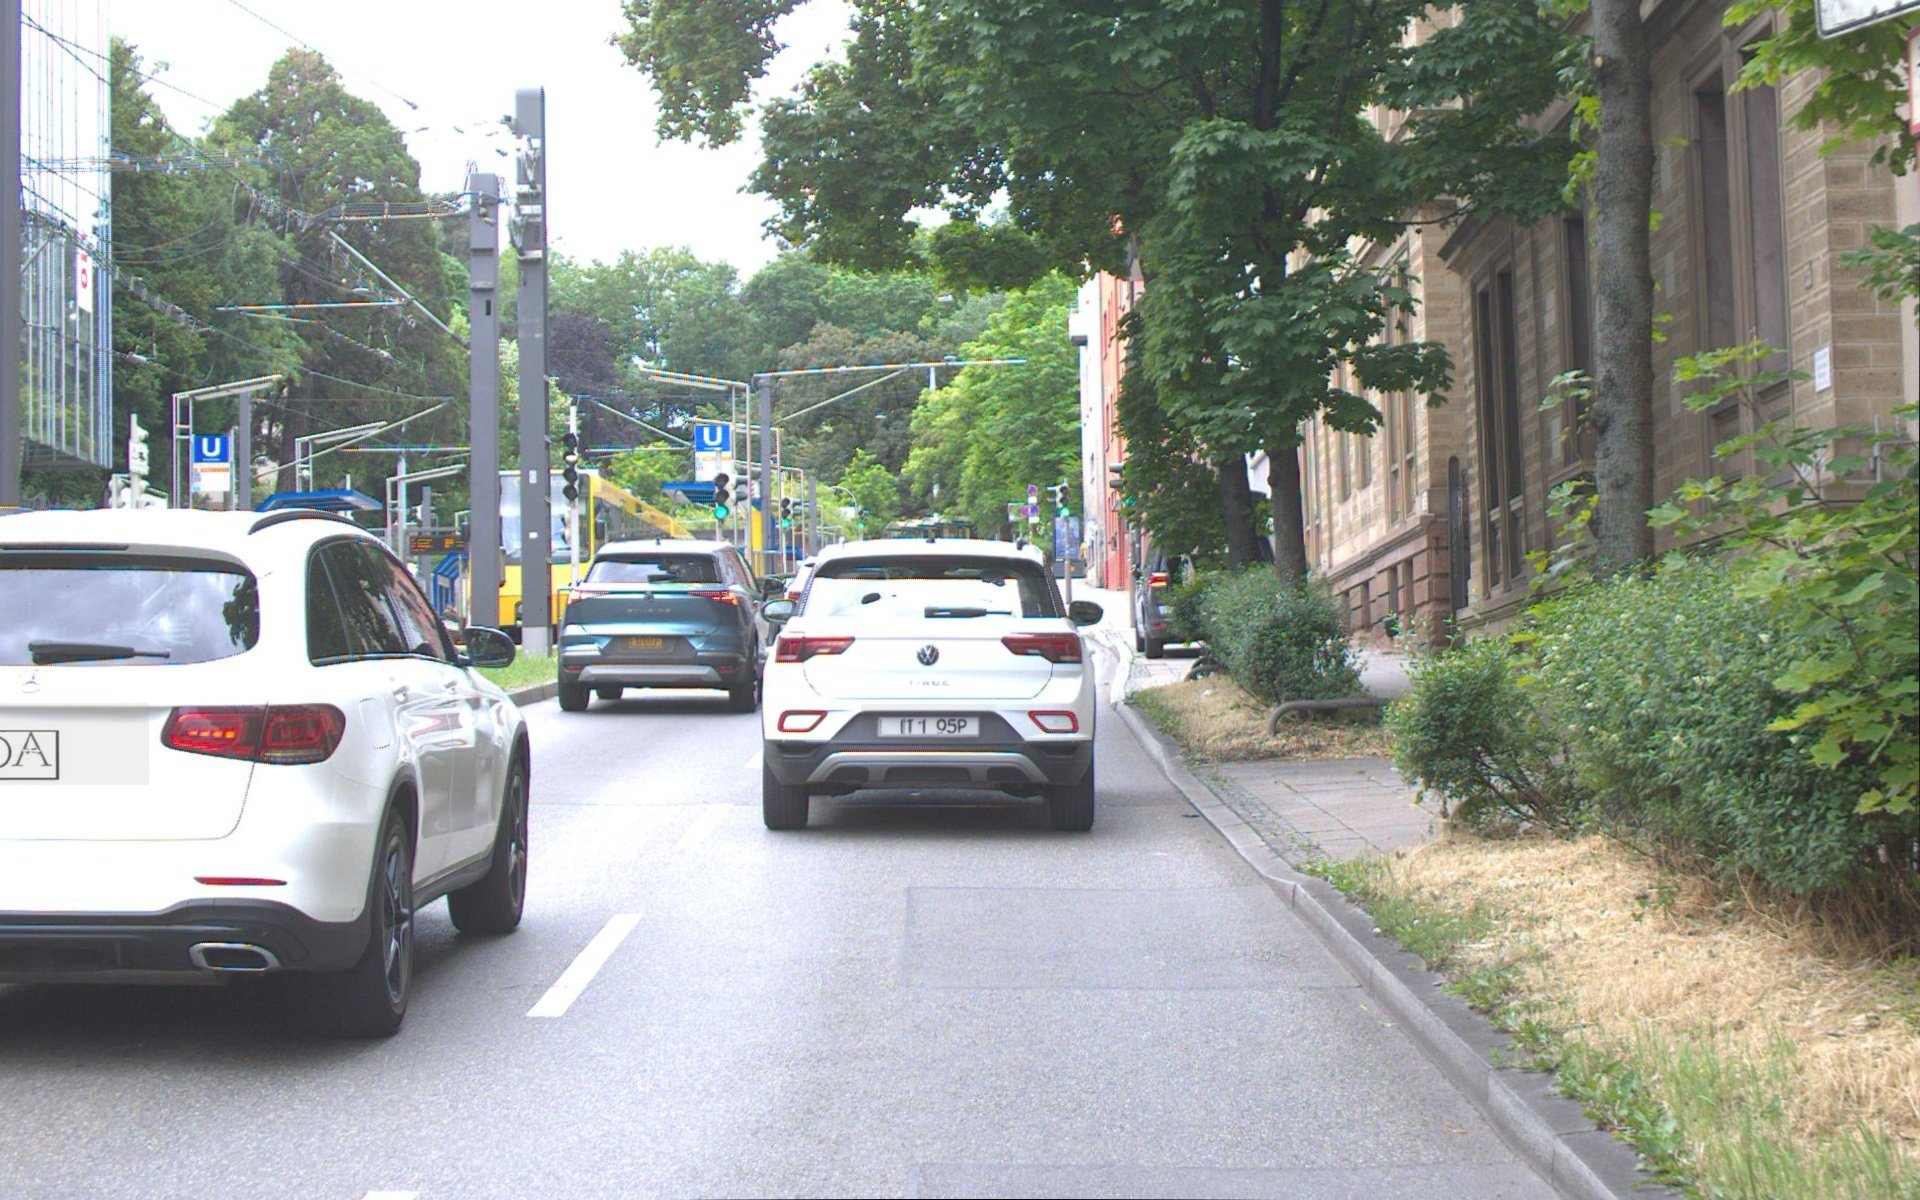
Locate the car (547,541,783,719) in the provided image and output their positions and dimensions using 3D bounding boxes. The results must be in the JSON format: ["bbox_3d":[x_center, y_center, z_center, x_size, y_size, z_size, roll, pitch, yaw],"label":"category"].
[{"bbox_3d":[-2.702,0.235,32.341,1.835,1.541,4.193,1,1,0],"label":"car"}]

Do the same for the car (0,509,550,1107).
[{"bbox_3d":[-2.640,0.545,11.939,1.835,1.661,4.671,1,1,0],"label":"car"}]

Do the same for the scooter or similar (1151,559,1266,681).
[{"bbox_3d":[2.364,0.186,32.709,1.037,1.115,0.331,-2,1,7],"label":"scooter or similar"}]

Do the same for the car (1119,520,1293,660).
[{"bbox_3d":[3.047,-0.149,43.355,1.835,1.596,4.193,-3,1,0],"label":"car"}]

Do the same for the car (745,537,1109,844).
[{"bbox_3d":[-0.206,0.431,19.564,1.835,1.541,4.194,1,1,-1],"label":"car"}]

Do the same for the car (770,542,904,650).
[{"bbox_3d":[-1.798,-0.089,51.548,1.835,1.541,4.193,1,1,0],"label":"car"}]

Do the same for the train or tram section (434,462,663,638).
[{"bbox_3d":[-8.507,-1.050,72.921,2.996,3.337,13.439,-1,1,1],"label":"train or tram section"}]

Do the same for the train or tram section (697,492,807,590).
[{"bbox_3d":[-7.529,-2.139,126.103,2.996,3.337,13.439,-1,1,1],"label":"train or tram section"}]
